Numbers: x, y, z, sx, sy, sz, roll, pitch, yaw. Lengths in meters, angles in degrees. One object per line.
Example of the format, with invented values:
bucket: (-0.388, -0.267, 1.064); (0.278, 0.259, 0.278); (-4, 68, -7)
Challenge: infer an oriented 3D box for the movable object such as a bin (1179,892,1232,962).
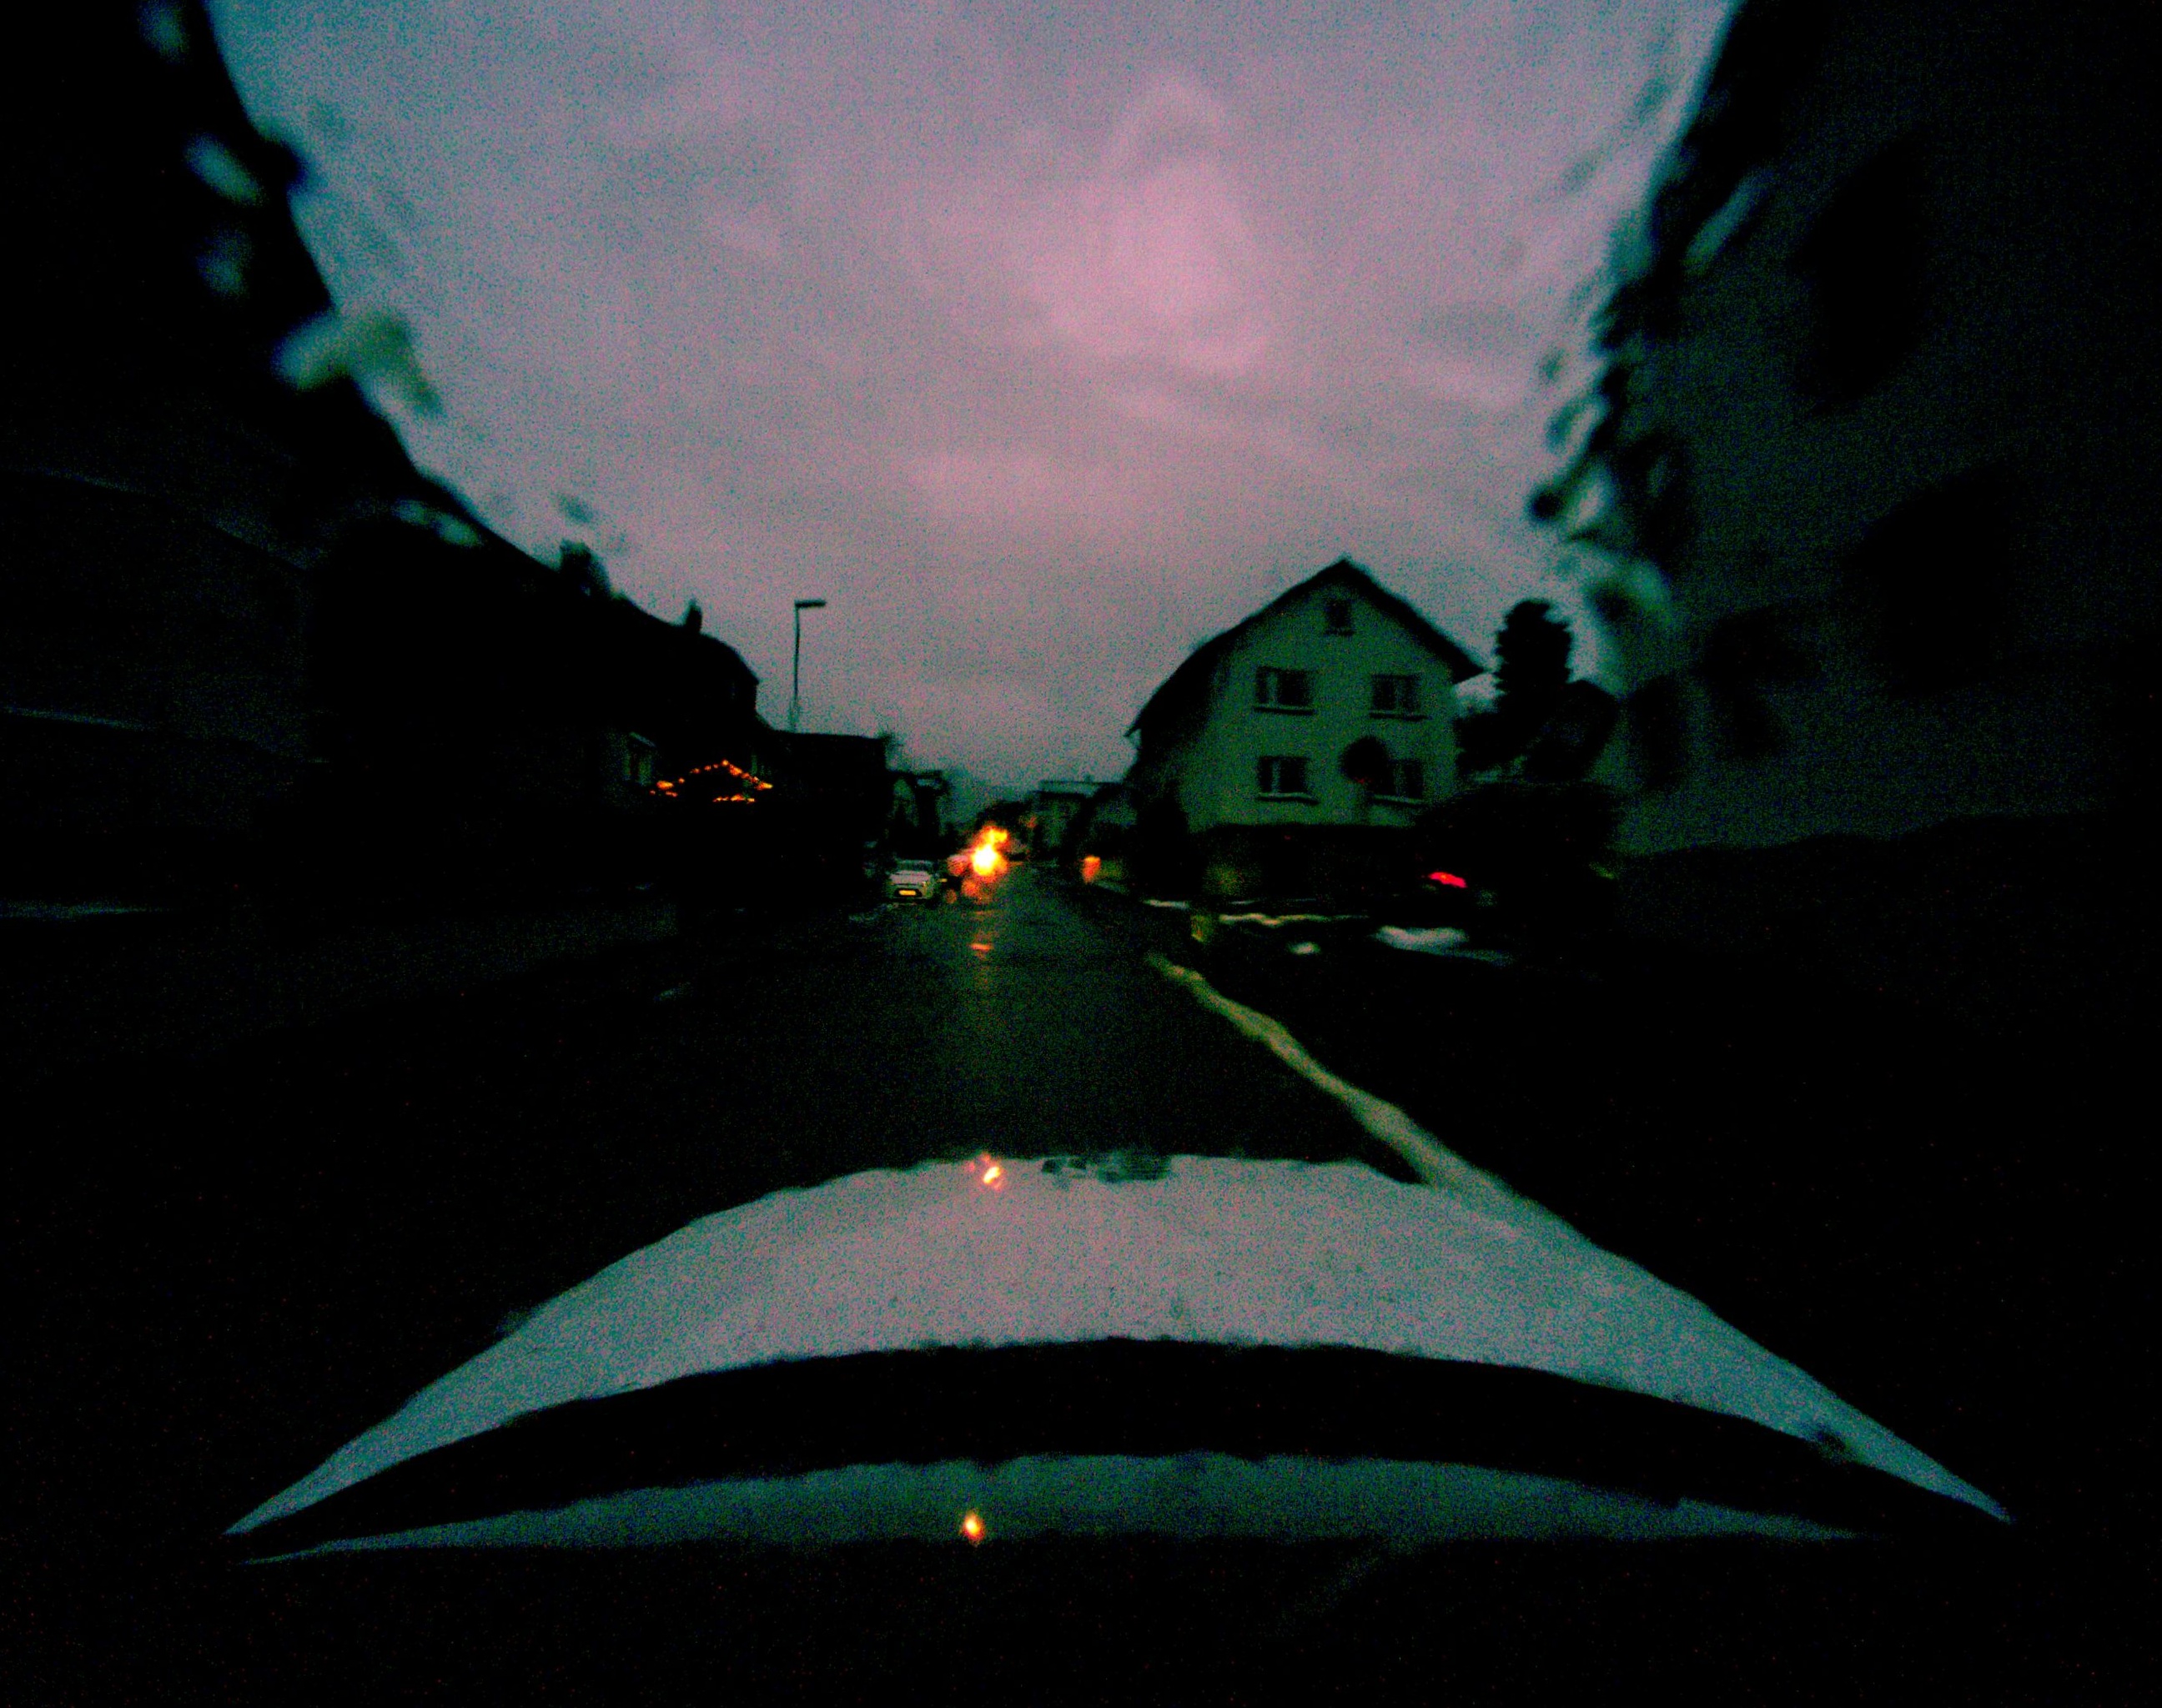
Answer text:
movable object such as a bin: (1.713, 0.999, 11.299); (0.635, 0.917, 0.685); (0, 0, -1)

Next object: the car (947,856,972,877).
car: (-9.336, 0.934, 62.772); (1.681, 1.584, 4.167); (-1, 0, -6)

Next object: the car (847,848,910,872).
car: (-14.351, 0.422, 57.821); (3.977, 1.618, 1.887); (0, 0, -2)

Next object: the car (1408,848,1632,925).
car: (9.710, 0.674, 18.250); (3.975, 1.618, 2.000); (0, 0, -1)

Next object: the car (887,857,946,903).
car: (-5.609, 0.842, 28.131); (1.616, 1.438, 3.649); (-1, 0, -6)

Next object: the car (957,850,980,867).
car: (-10.377, 0.388, 75.226); (1.791, 1.503, 4.303); (-2, 1, -4)

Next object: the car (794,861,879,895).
car: (-11.416, 1.093, 38.229); (3.455, 1.528, 1.772); (0, 0, -2)

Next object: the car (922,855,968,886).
car: (-6.621, 0.782, 40.161); (1.875, 1.394, 5.065); (-1, 0, -6)

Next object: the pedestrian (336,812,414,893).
pedestrian: (-15.842, -0.027, 18.297); (0.809, 1.732, 0.994); (3, -2, 30)
